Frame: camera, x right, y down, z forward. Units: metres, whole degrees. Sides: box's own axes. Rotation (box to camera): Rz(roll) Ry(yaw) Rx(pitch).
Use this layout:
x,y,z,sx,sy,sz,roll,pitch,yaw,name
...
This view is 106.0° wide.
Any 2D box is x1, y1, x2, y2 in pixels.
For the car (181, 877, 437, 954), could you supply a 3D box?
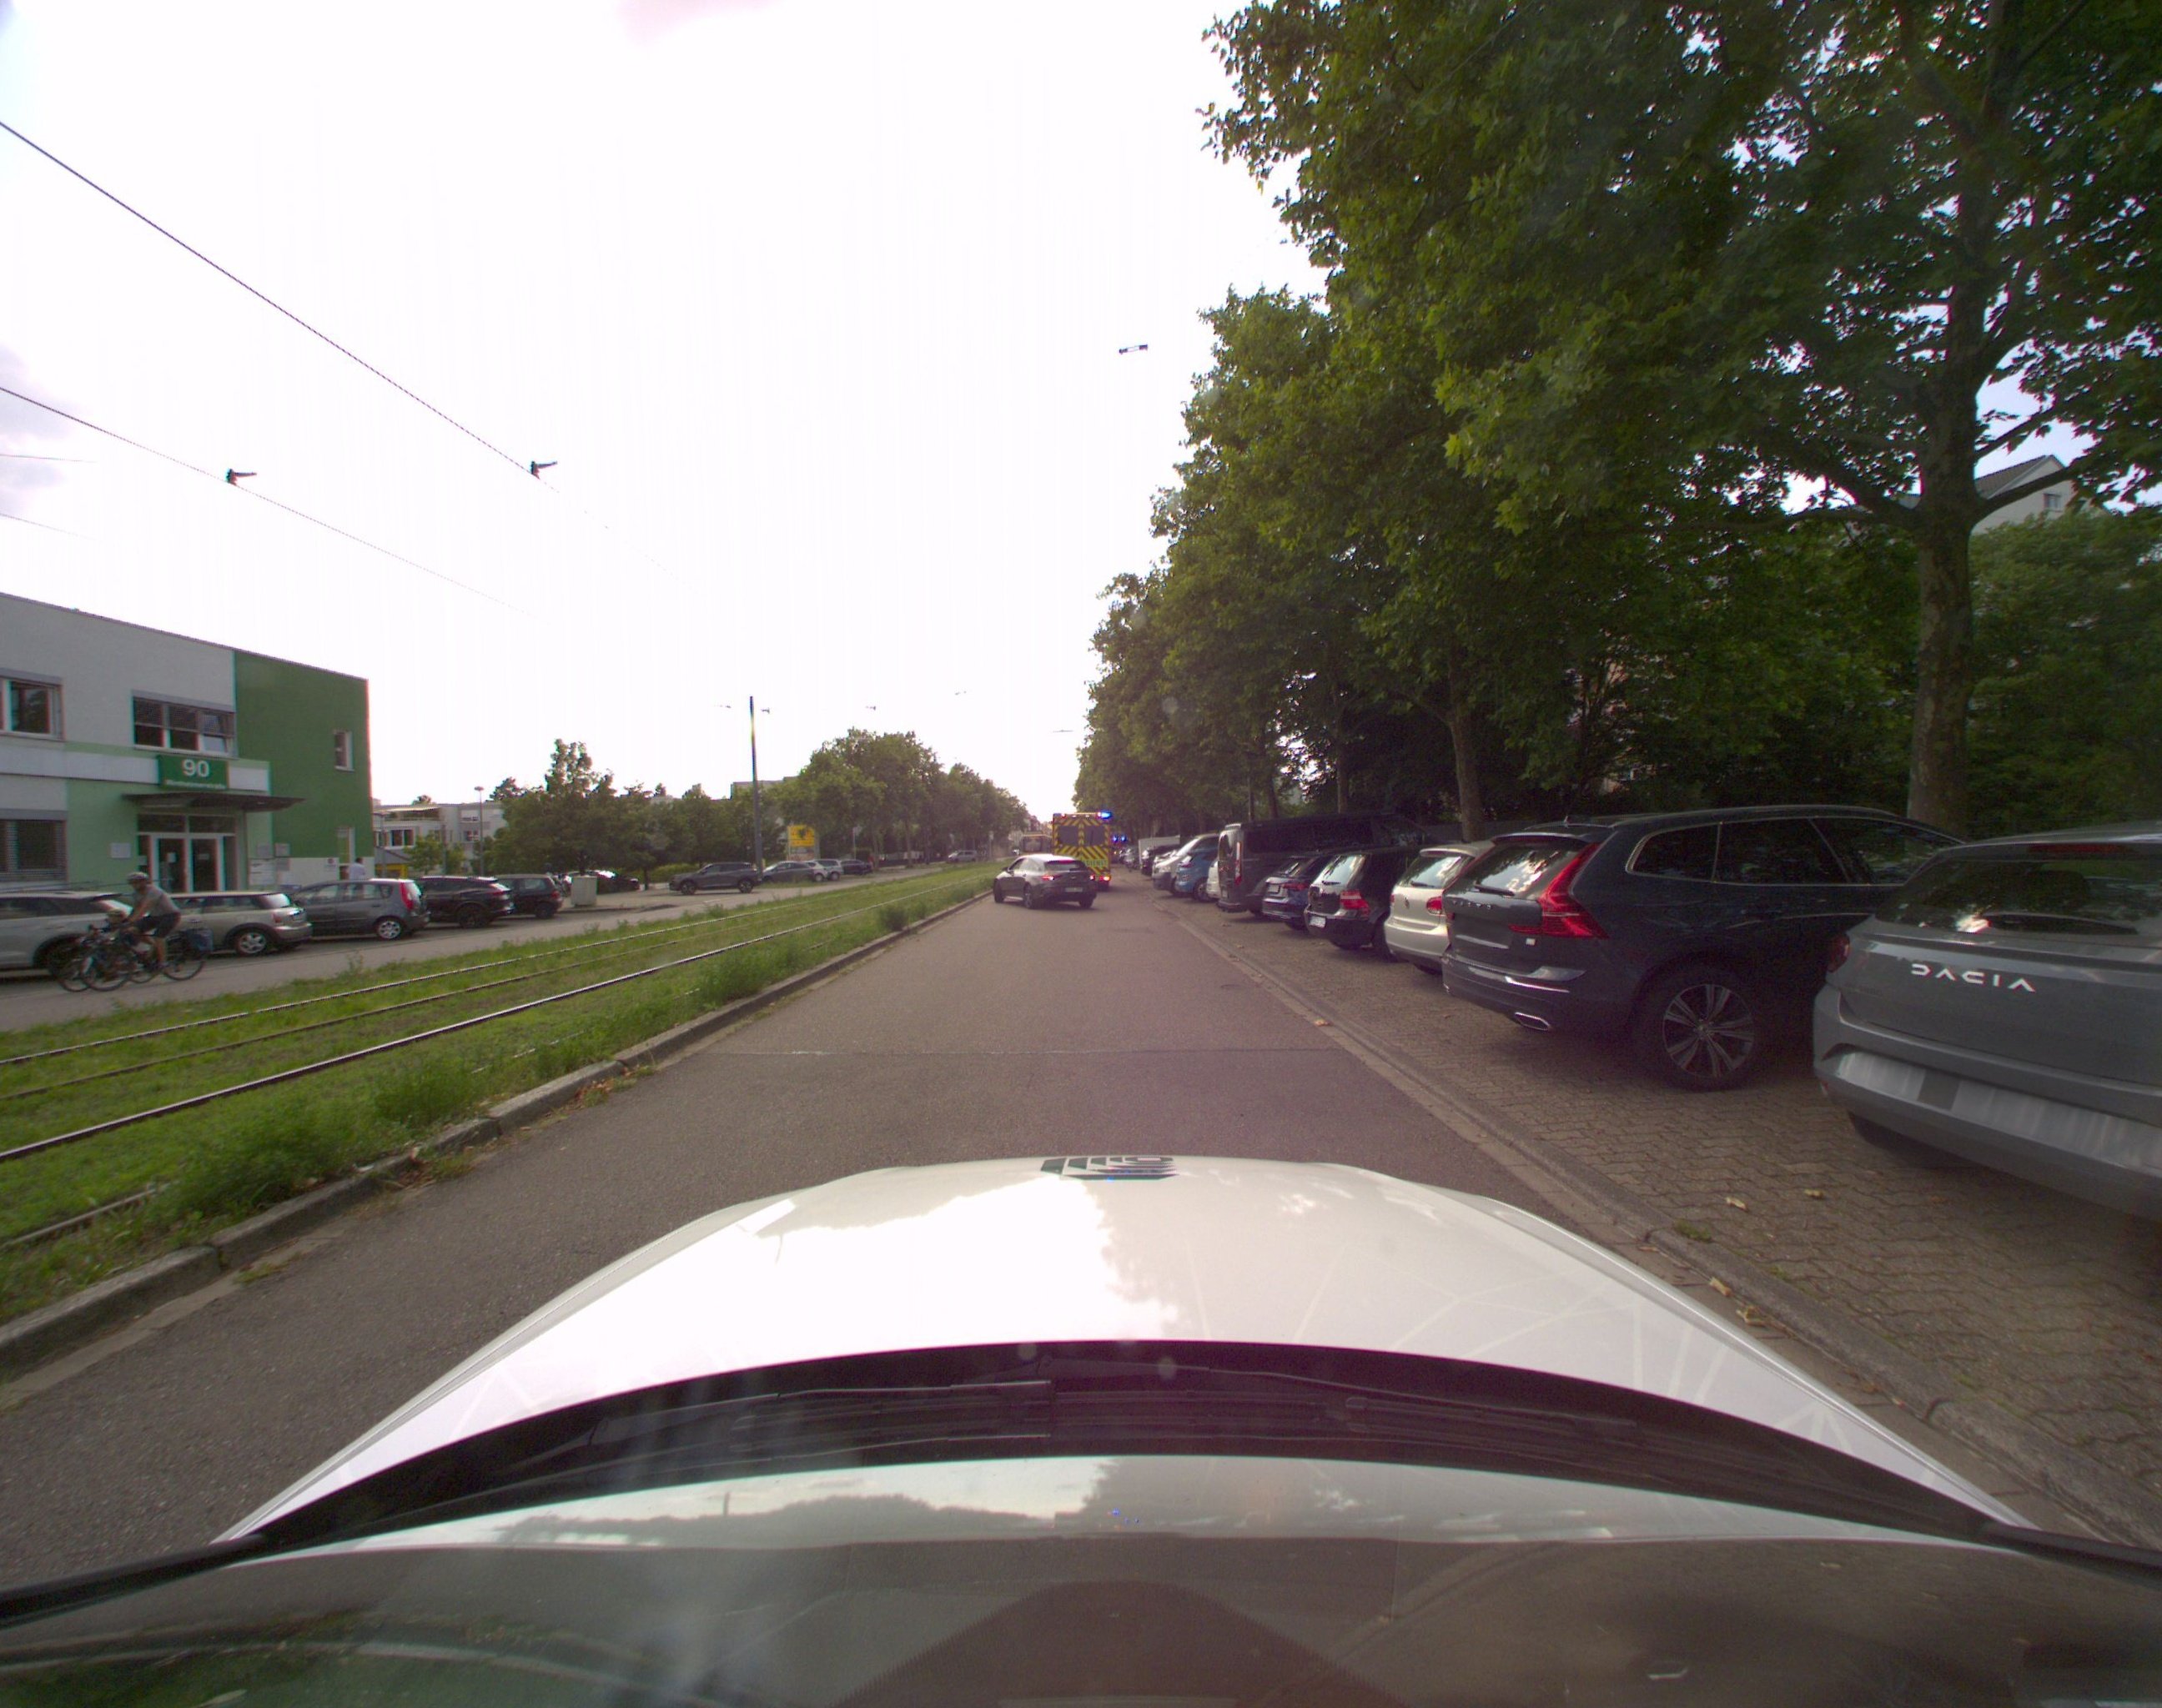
x,y,z,sx,sy,sz,roll,pitch,yaw,name
-18.983,1.455,20.332,4.247,1.482,1.866,-3,1,-29,car

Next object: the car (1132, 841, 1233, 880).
x,y,z,sx,sy,sz,roll,pitch,yaw,name
4.865,0.305,39.325,4.537,1.608,1.853,-3,0,-4,car

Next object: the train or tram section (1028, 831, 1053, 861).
x,y,z,sx,sy,sz,roll,pitch,yaw,name
-5.121,-0.961,104.039,2.504,3.584,7.443,-3,0,0,train or tram section

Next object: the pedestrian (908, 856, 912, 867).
x,y,z,sx,sy,sz,roll,pitch,yaw,name
-21.689,0.937,103.385,0.420,1.473,0.467,-2,0,-5,pedestrian

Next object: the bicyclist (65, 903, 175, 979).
x,y,z,sx,sy,sz,roll,pitch,yaw,name
-15.630,1.395,13.271,0.636,1.113,0.930,-2,0,6,bicyclist

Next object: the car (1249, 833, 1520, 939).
x,y,z,sx,sy,sz,roll,pitch,yaw,name
5.074,0.517,14.004,3.953,1.494,1.755,-3,0,-1,car

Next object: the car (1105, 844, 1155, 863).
x,y,z,sx,sy,sz,roll,pitch,yaw,name
4.747,-0.085,78.967,4.537,1.608,1.853,-3,0,-4,car

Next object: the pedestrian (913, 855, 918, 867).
x,y,z,sx,sy,sz,roll,pitch,yaw,name
-21.405,0.907,105.263,0.417,1.414,0.470,-2,0,25,pedestrian

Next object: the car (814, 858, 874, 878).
x,y,z,sx,sy,sz,roll,pitch,yaw,name
-18.925,1.094,65.167,4.256,1.482,1.861,-1,0,-40,car

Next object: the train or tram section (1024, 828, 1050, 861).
x,y,z,sx,sy,sz,roll,pitch,yaw,name
-5.128,-1.021,96.595,2.504,3.584,7.443,-3,0,0,train or tram section

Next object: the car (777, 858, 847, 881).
x,y,z,sx,sy,sz,roll,pitch,yaw,name
-18.813,1.094,56.963,4.253,1.482,1.863,-1,0,-36,car

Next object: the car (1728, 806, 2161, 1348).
x,y,z,sx,sy,sz,roll,pitch,yaw,name
5.230,0.528,2.912,4.364,1.501,1.757,-3,0,1,car

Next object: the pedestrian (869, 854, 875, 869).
x,y,z,sx,sy,sz,roll,pitch,yaw,name
-23.290,0.843,90.656,0.465,1.676,0.603,-2,0,-2,pedestrian

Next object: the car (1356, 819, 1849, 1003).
x,y,z,sx,sy,sz,roll,pitch,yaw,name
5.142,0.519,8.425,3.953,1.494,1.755,-3,0,-1,car

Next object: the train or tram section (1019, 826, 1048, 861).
x,y,z,sx,sy,sz,roll,pitch,yaw,name
-5.128,-1.081,89.164,2.504,3.584,7.443,-3,0,0,train or tram section

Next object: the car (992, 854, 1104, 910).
x,y,z,sx,sy,sz,roll,pitch,yaw,name
-1.050,0.713,23.006,1.768,1.385,4.435,0,0,-22,car

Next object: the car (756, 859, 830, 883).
x,y,z,sx,sy,sz,roll,pitch,yaw,name
-19.057,1.108,53.905,4.253,1.482,1.863,-1,0,-36,car

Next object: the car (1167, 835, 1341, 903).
x,y,z,sx,sy,sz,roll,pitch,yaw,name
4.934,0.412,23.566,4.538,1.660,1.853,-3,0,-5,car

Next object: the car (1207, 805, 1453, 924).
x,y,z,sx,sy,sz,roll,pitch,yaw,name
5.095,0.196,17.130,4.532,2.123,1.855,-3,0,-1,car

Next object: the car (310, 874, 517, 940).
x,y,z,sx,sy,sz,roll,pitch,yaw,name
-18.926,1.444,23.378,4.247,1.482,1.866,-3,1,-29,car

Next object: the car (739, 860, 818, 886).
x,y,z,sx,sy,sz,roll,pitch,yaw,name
-18.940,1.169,51.035,4.253,1.482,1.863,-1,0,-36,car

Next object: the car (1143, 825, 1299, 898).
x,y,z,sx,sy,sz,roll,pitch,yaw,name
4.416,0.226,26.100,4.537,2.000,1.853,-3,0,-4,car

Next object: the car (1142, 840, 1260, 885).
x,y,z,sx,sy,sz,roll,pitch,yaw,name
4.984,0.351,34.168,4.537,1.608,1.853,-3,0,-4,car

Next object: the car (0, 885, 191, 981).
x,y,z,sx,sy,sz,roll,pitch,yaw,name
-19.114,1.440,14.354,4.252,1.482,1.863,-3,1,-34,car

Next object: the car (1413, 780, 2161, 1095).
x,y,z,sx,sy,sz,roll,pitch,yaw,name
4.834,0.467,5.580,4.364,1.639,1.757,-3,0,1,car

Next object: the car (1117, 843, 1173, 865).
x,y,z,sx,sy,sz,roll,pitch,yaw,name
5.547,-0.024,70.737,4.537,1.608,1.853,-3,0,-4,car

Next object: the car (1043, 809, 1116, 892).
x,y,z,sx,sy,sz,roll,pitch,yaw,name
0.043,-0.148,32.701,2.631,2.966,6.302,1,0,2,car

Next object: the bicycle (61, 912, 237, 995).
x,y,z,sx,sy,sz,roll,pitch,yaw,name
-14.936,1.554,13.133,0.642,1.079,1.807,-2,0,5,bicycle

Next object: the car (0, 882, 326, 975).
x,y,z,sx,sy,sz,roll,pitch,yaw,name
-19.226,1.485,17.317,4.247,1.482,1.866,-3,1,-29,car

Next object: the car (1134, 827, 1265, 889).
x,y,z,sx,sy,sz,roll,pitch,yaw,name
4.394,0.141,30.694,4.537,2.043,1.853,-3,0,-4,car

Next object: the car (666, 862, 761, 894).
x,y,z,sx,sy,sz,roll,pitch,yaw,name
-18.401,1.163,40.900,4.242,1.482,1.868,-1,0,-25,car

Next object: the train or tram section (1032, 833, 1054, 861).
x,y,z,sx,sy,sz,roll,pitch,yaw,name
-5.106,-0.901,111.481,2.504,3.584,7.443,-3,0,0,train or tram section

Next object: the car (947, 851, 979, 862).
x,y,z,sx,sy,sz,roll,pitch,yaw,name
-18.732,0.426,129.700,4.651,1.633,1.861,-3,0,-39,car

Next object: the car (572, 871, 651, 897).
x,y,z,sx,sy,sz,roll,pitch,yaw,name
-29.470,1.895,51.174,3.971,1.565,1.778,0,-1,2,car

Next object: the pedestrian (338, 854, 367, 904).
x,y,z,sx,sy,sz,roll,pitch,yaw,name
-27.517,0.934,30.756,0.544,1.828,0.508,-2,0,-2,pedestrian

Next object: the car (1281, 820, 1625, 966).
x,y,z,sx,sy,sz,roll,pitch,yaw,name
4.988,0.463,11.149,3.967,1.605,1.750,-3,0,-11,car

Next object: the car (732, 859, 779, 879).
x,y,z,sx,sy,sz,roll,pitch,yaw,name
-29.729,1.358,74.480,3.949,1.750,2.013,0,0,31,car

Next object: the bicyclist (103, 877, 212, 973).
x,y,z,sx,sy,sz,roll,pitch,yaw,name
-14.940,1.124,13.201,0.620,1.457,0.930,-2,0,5,bicyclist

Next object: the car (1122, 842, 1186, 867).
x,y,z,sx,sy,sz,roll,pitch,yaw,name
5.428,0.025,60.886,4.537,1.608,1.853,-3,0,-4,car

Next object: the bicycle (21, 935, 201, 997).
x,y,z,sx,sy,sz,roll,pitch,yaw,name
-15.627,1.781,13.201,0.642,0.717,1.808,-2,0,6,bicycle

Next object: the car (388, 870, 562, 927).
x,y,z,sx,sy,sz,roll,pitch,yaw,name
-19.438,1.375,26.383,4.247,1.482,1.866,-3,1,-29,car

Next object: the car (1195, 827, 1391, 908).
x,y,z,sx,sy,sz,roll,pitch,yaw,name
5.364,0.336,21.035,4.532,1.766,1.855,-3,0,-1,car
